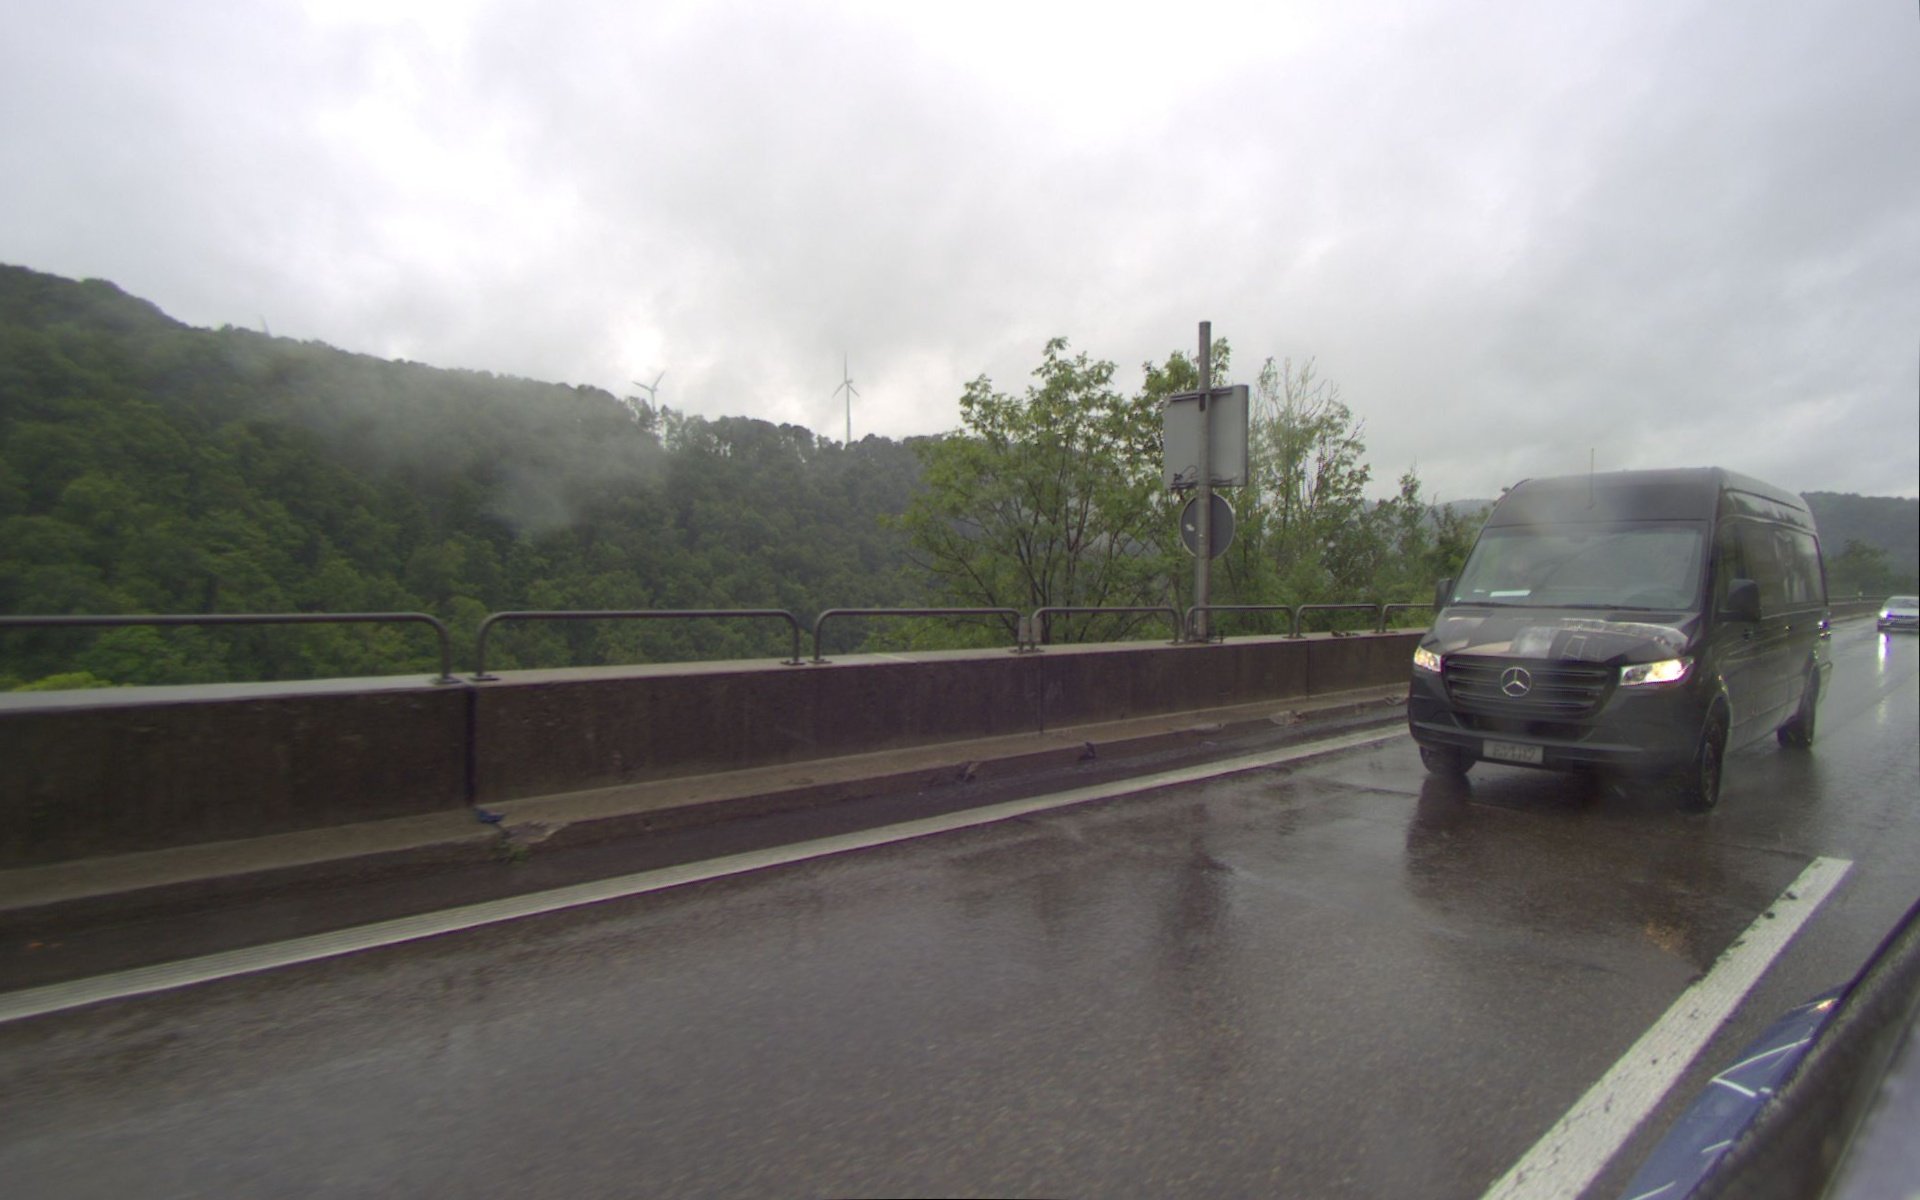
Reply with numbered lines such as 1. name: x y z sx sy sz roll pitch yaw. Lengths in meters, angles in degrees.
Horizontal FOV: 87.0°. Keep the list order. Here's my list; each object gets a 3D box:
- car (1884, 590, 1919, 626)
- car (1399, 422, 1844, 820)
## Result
1. car: 41.380 0.351 43.531 4.487 1.432 1.989 -1 4 -43
2. car: 6.498 0.127 9.426 6.592 2.526 1.995 0 0 -43
